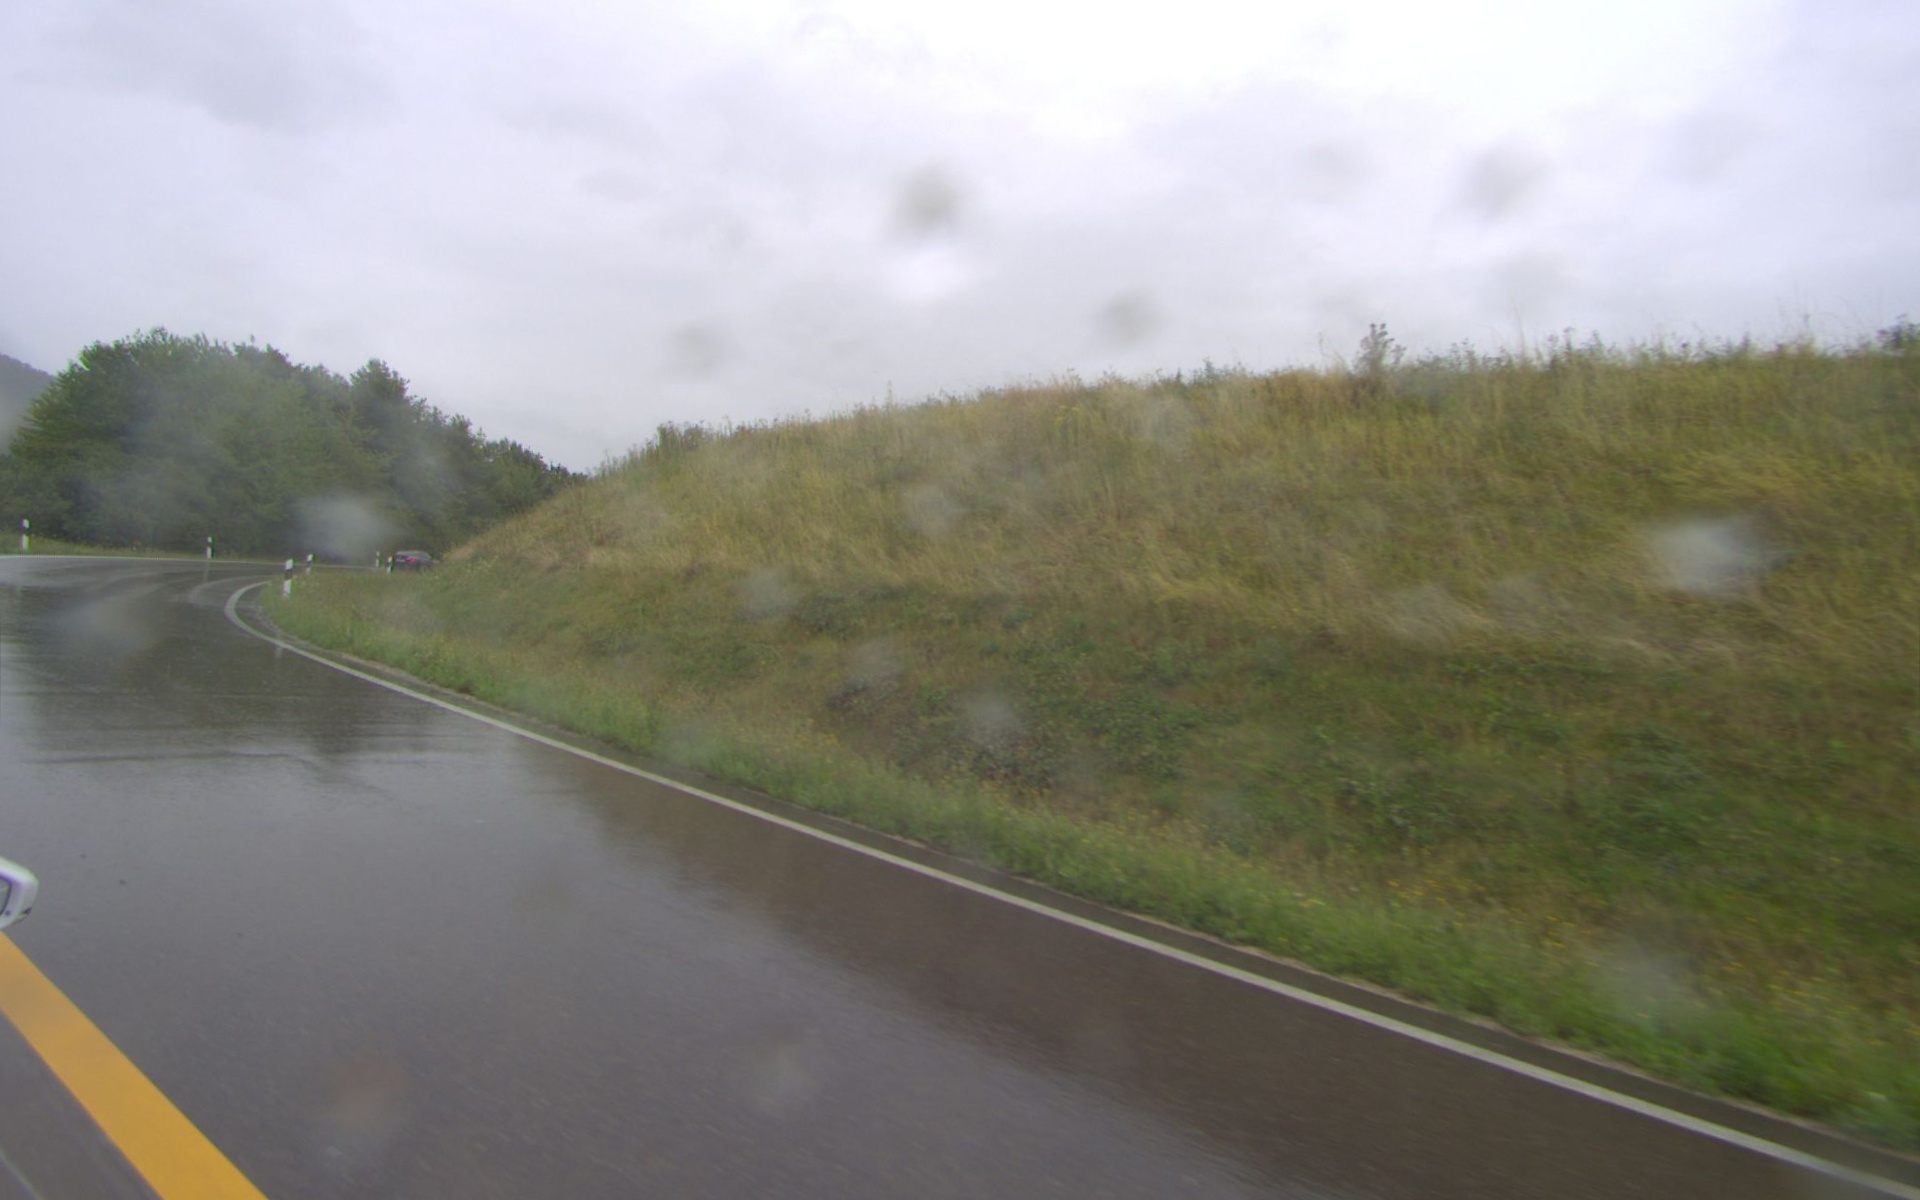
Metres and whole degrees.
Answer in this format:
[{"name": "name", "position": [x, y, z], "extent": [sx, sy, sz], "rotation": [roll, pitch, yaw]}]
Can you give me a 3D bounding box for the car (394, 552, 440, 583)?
[{"name": "car", "position": [-32.330, -1.930, 59.972], "extent": [1.682, 1.525, 3.620], "rotation": [8, -2, -18]}]
